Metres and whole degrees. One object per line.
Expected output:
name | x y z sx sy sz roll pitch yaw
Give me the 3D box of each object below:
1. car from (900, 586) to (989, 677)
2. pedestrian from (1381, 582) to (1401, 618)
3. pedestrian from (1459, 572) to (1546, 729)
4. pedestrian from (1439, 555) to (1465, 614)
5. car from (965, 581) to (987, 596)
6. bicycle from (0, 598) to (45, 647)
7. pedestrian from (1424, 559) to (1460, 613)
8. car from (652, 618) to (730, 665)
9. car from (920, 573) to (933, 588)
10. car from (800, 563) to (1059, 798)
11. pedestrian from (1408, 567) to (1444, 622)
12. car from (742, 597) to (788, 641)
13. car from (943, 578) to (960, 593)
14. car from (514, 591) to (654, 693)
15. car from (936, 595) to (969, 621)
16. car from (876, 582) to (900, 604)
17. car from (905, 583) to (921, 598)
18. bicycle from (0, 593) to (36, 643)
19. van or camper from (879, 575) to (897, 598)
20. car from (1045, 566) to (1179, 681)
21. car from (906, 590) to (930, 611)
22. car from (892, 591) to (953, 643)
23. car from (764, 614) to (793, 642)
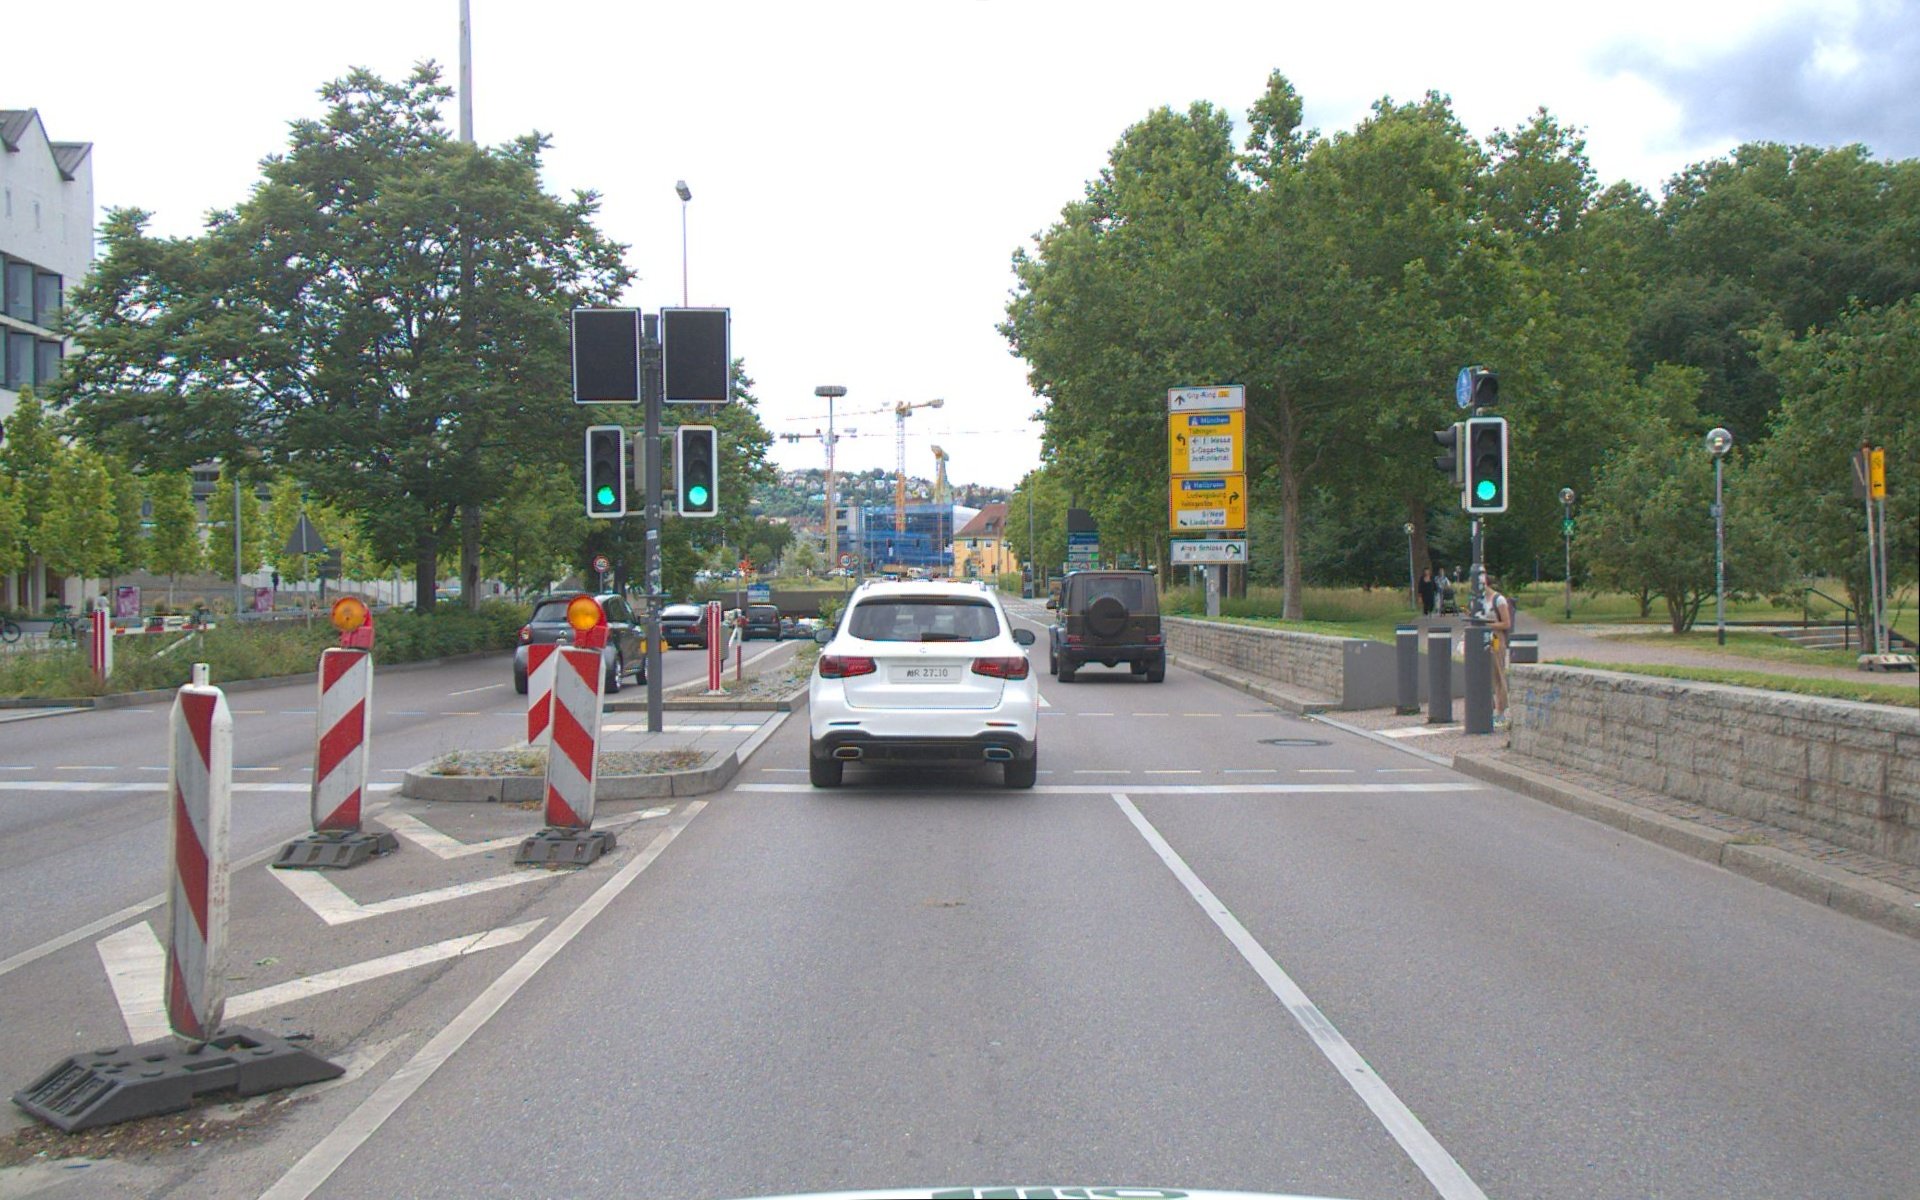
car | -0.352 0.632 32.998 1.638 1.656 3.998 2 -1 -2
pedestrian | 16.265 -0.005 62.397 0.570 1.348 0.541 2 -2 -2
pedestrian | 5.987 0.548 18.268 0.684 1.685 0.683 2 -1 -3
pedestrian | 17.401 -0.548 58.491 0.559 2.049 0.932 2 -1 -2
car | 1.869 -1.352 193.083 1.956 1.646 3.993 2 -1 -7
bicycle | -34.537 0.808 58.507 3.551 1.713 1.179 -1 0 -14
pedestrian | 17.372 -0.499 59.672 0.976 1.868 1.030 2 -1 2
car | -8.320 1.256 51.425 1.683 1.315 4.000 2 0 1
car | -5.261 -3.037 258.162 1.764 2.049 3.997 2 -1 -3
car | -0.332 0.629 14.421 1.902 1.713 3.997 2 -1 -3
pedestrian | 15.447 -0.178 54.860 0.878 1.763 0.968 2 0 -2
car | -8.137 0.772 69.259 1.685 1.708 3.997 2 0 -4
car | -0.954 -1.648 185.849 1.685 1.612 3.997 2 0 -4
car | -6.076 0.658 27.067 1.595 1.535 3.538 1 -1 -3
car | -0.524 0.540 110.450 1.954 1.691 3.997 2 -1 -3
car | -6.178 -0.604 141.913 1.953 1.787 3.999 2 -1 -1
car | -5.459 -1.110 190.845 1.685 1.612 3.997 2 0 -4
bicycle | -33.905 0.640 56.820 3.551 1.713 1.179 -1 0 -14
van or camper | -8.055 -1.503 184.775 1.884 2.360 3.997 1 -2 -3
car | 2.744 0.435 30.968 1.937 1.926 4.705 2 -1 -1
car | -3.672 0.063 145.660 1.954 1.812 3.997 2 -1 -3
car | -1.272 0.534 54.851 1.884 1.630 3.998 1 0 -3
car | -11.347 1.758 103.517 1.686 1.612 3.996 2 0 -5
